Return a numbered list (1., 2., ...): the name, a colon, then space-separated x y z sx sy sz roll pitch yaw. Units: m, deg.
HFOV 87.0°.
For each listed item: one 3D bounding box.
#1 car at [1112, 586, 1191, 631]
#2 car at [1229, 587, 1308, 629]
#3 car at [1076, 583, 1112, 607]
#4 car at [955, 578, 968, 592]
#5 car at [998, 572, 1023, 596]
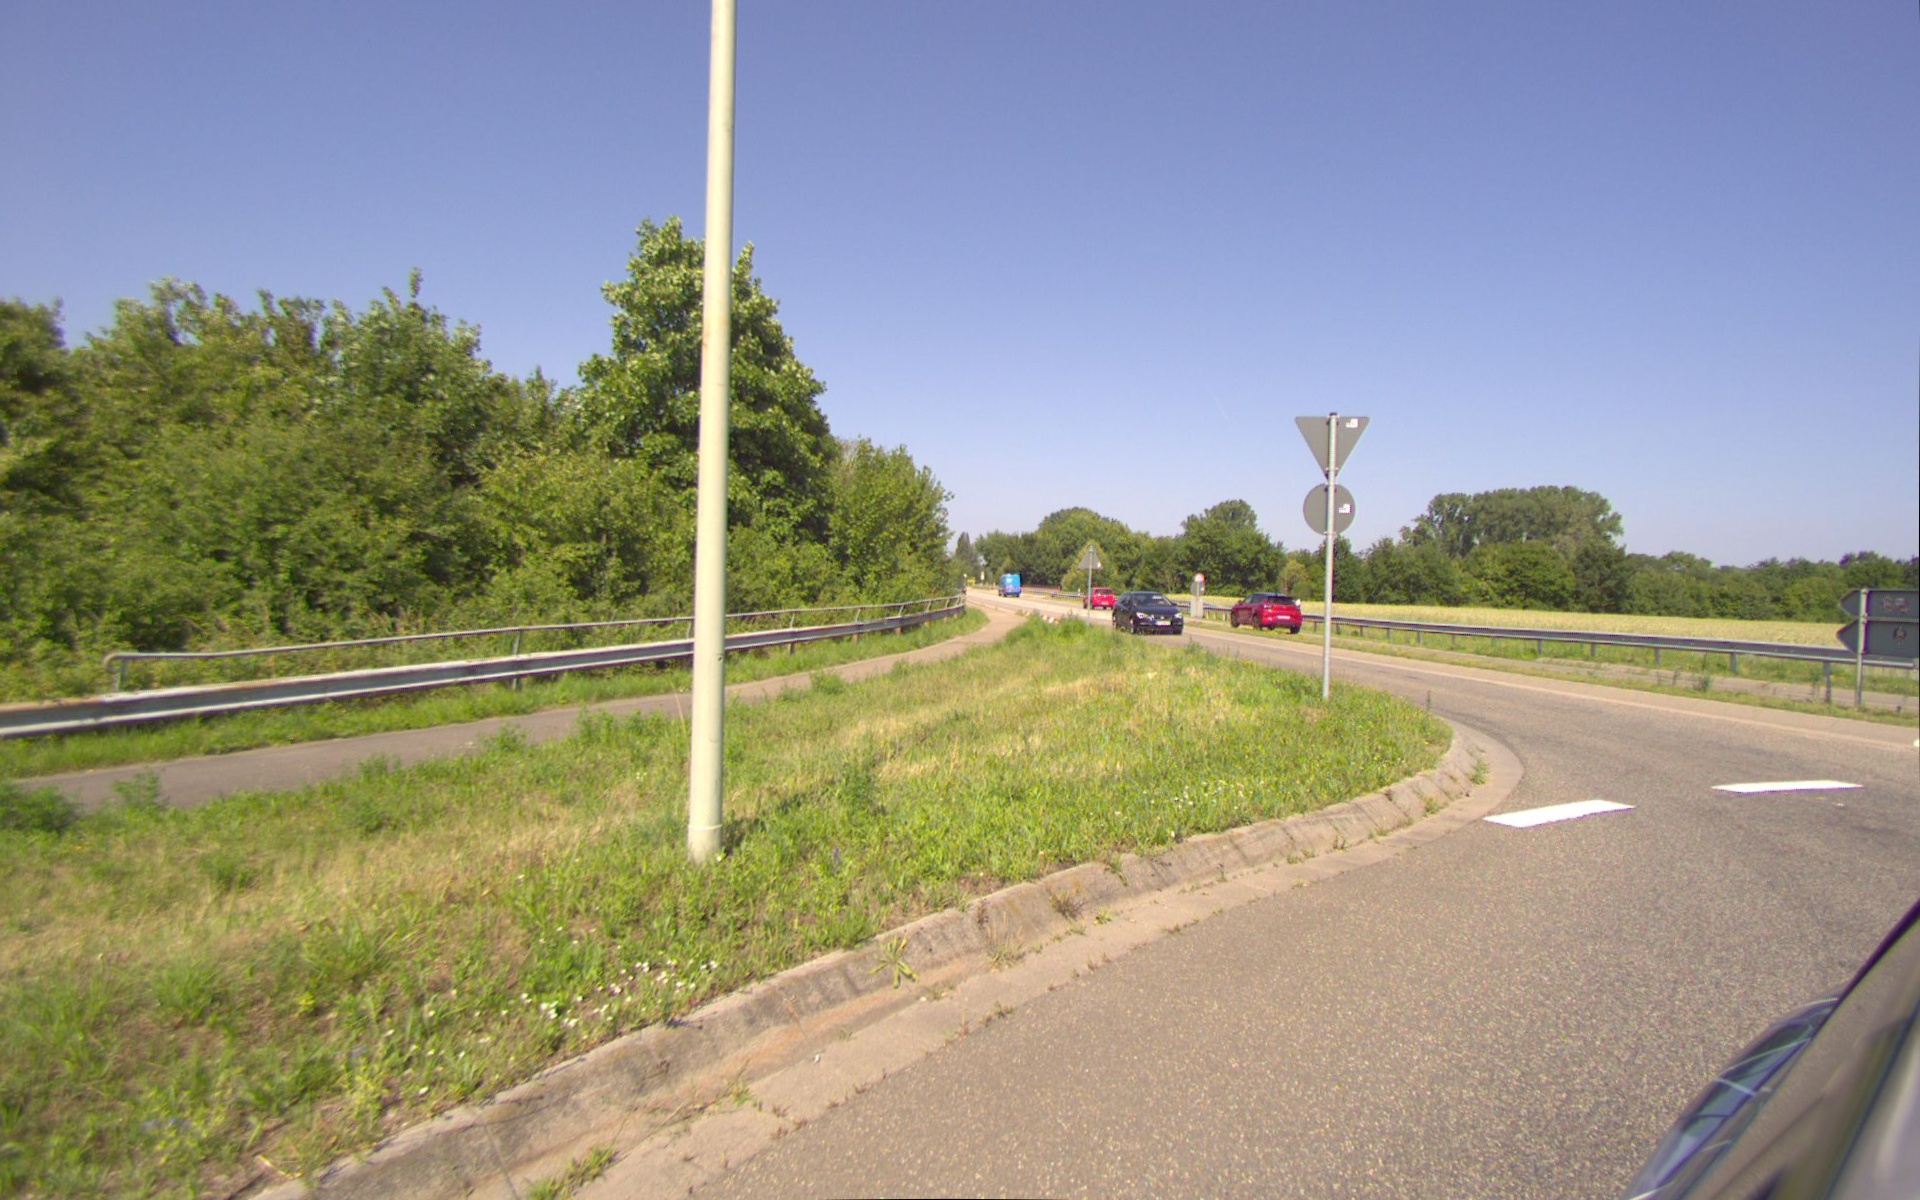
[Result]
1. car: 6.698 0.265 35.814 1.772 1.415 4.184 1 1 -3
2. car: 12.263 0.294 40.495 1.715 1.542 3.834 3 0 -4
3. car: 9.334 -0.396 70.656 1.600 1.509 3.807 2 1 -5
4. car: 0.189 -1.944 130.611 1.433 1.668 3.539 1 1 -4
5. car: 5.906 -1.884 119.816 1.960 2.643 7.298 3 1 -4
